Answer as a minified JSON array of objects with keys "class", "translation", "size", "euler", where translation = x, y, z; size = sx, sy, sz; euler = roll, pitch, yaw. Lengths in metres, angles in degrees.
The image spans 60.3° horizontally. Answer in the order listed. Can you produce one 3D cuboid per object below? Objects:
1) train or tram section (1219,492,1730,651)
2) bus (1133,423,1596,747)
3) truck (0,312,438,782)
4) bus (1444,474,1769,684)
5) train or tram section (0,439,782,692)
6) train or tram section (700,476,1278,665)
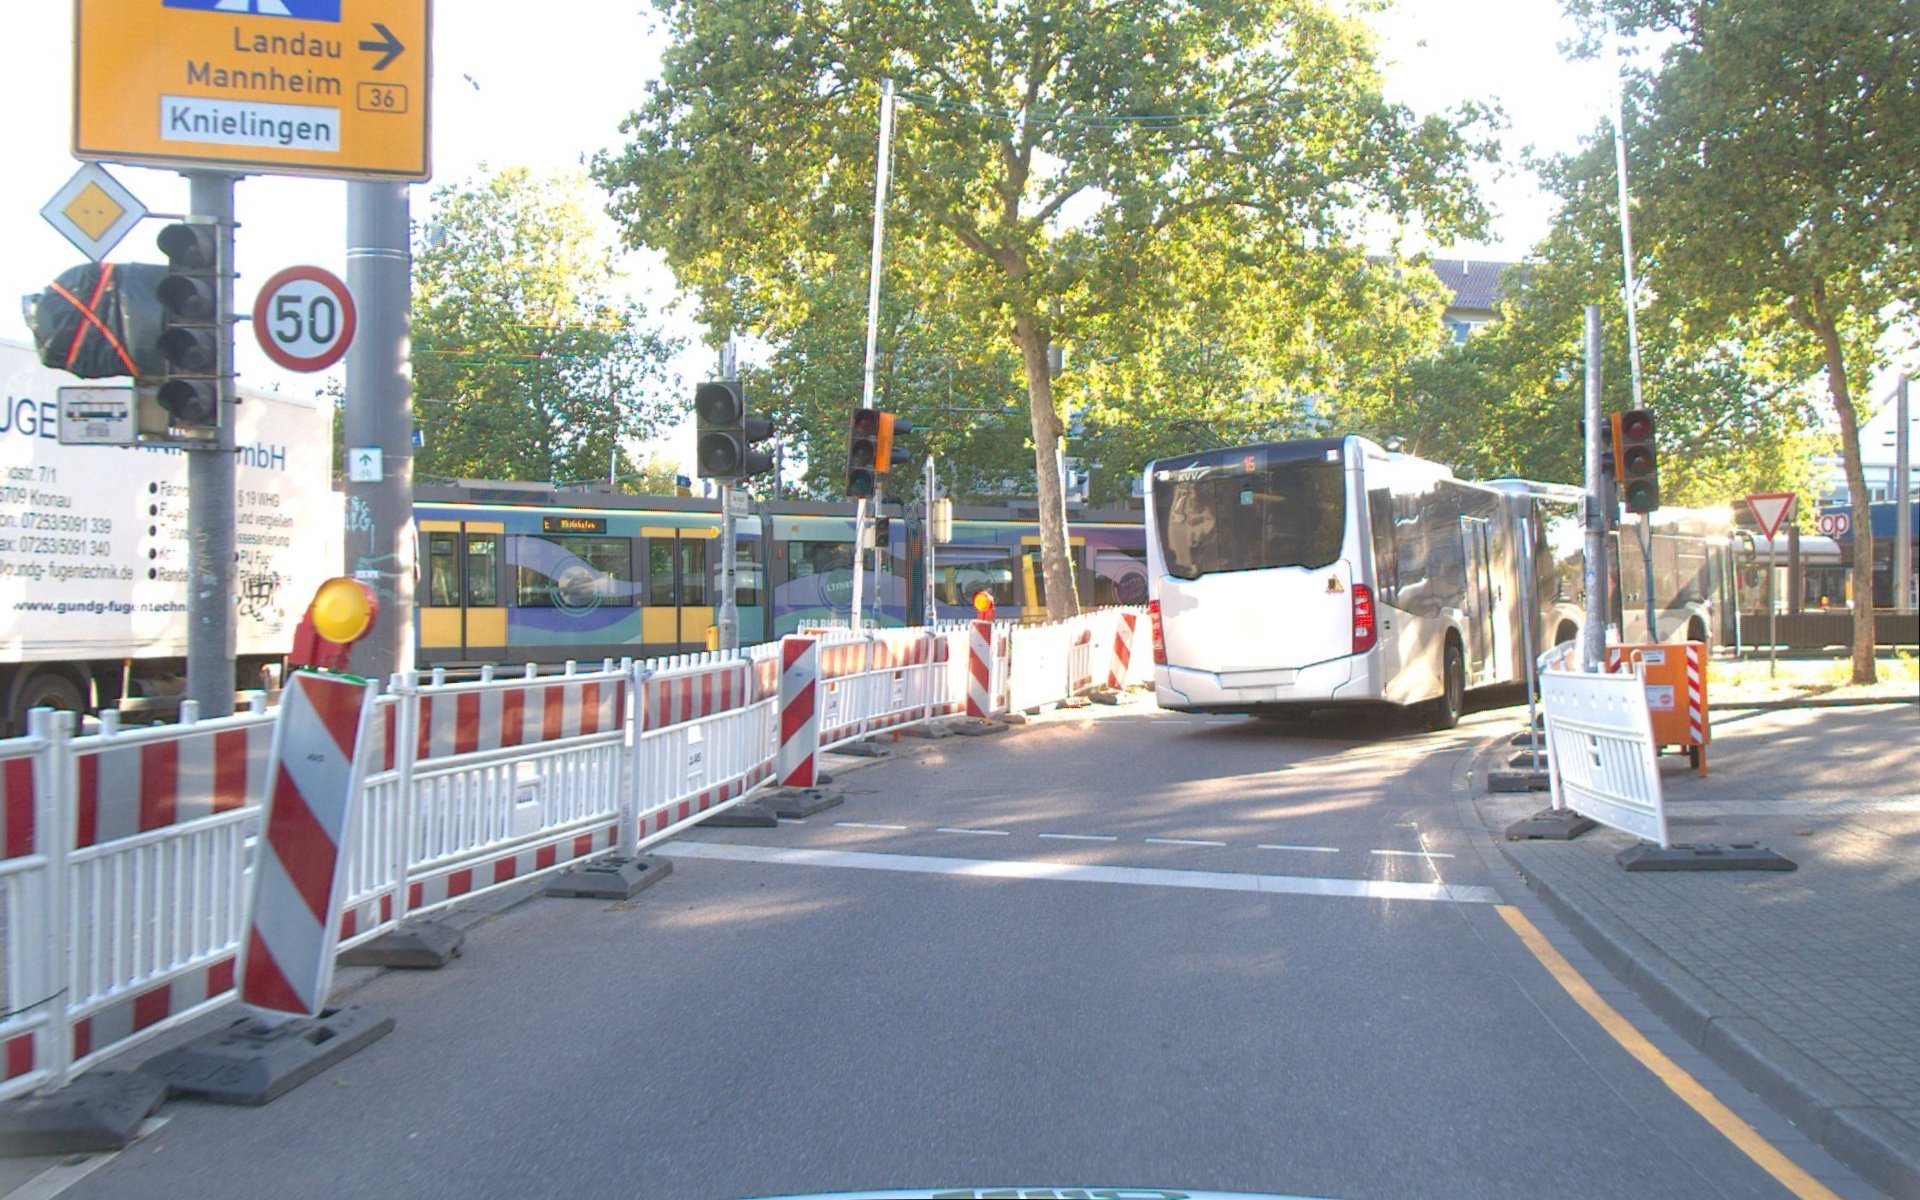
[{"class":"train or tram section","translation":[12.762,-0.642,40.555],"size":[13.092,3.581,2.634],"euler":[0,0,-20]},{"class":"bus","translation":[5.807,-0.224,21.552],"size":[2.684,3.193,10.677],"euler":[0,1,32]},{"class":"truck","translation":[-8.293,-0.425,14.747],"size":[2.752,3.603,8.991],"euler":[0,0,13]},{"class":"bus","translation":[11.695,-0.386,29.270],"size":[2.667,3.161,8.932],"euler":[0,1,40]},{"class":"train or tram section","translation":[-9.379,-0.478,28.911],"size":[13.274,3.595,2.817],"euler":[0,0,-41]},{"class":"train or tram section","translation":[0.868,-0.565,35.595],"size":[12.577,3.611,2.716],"euler":[0,0,-25]}]
